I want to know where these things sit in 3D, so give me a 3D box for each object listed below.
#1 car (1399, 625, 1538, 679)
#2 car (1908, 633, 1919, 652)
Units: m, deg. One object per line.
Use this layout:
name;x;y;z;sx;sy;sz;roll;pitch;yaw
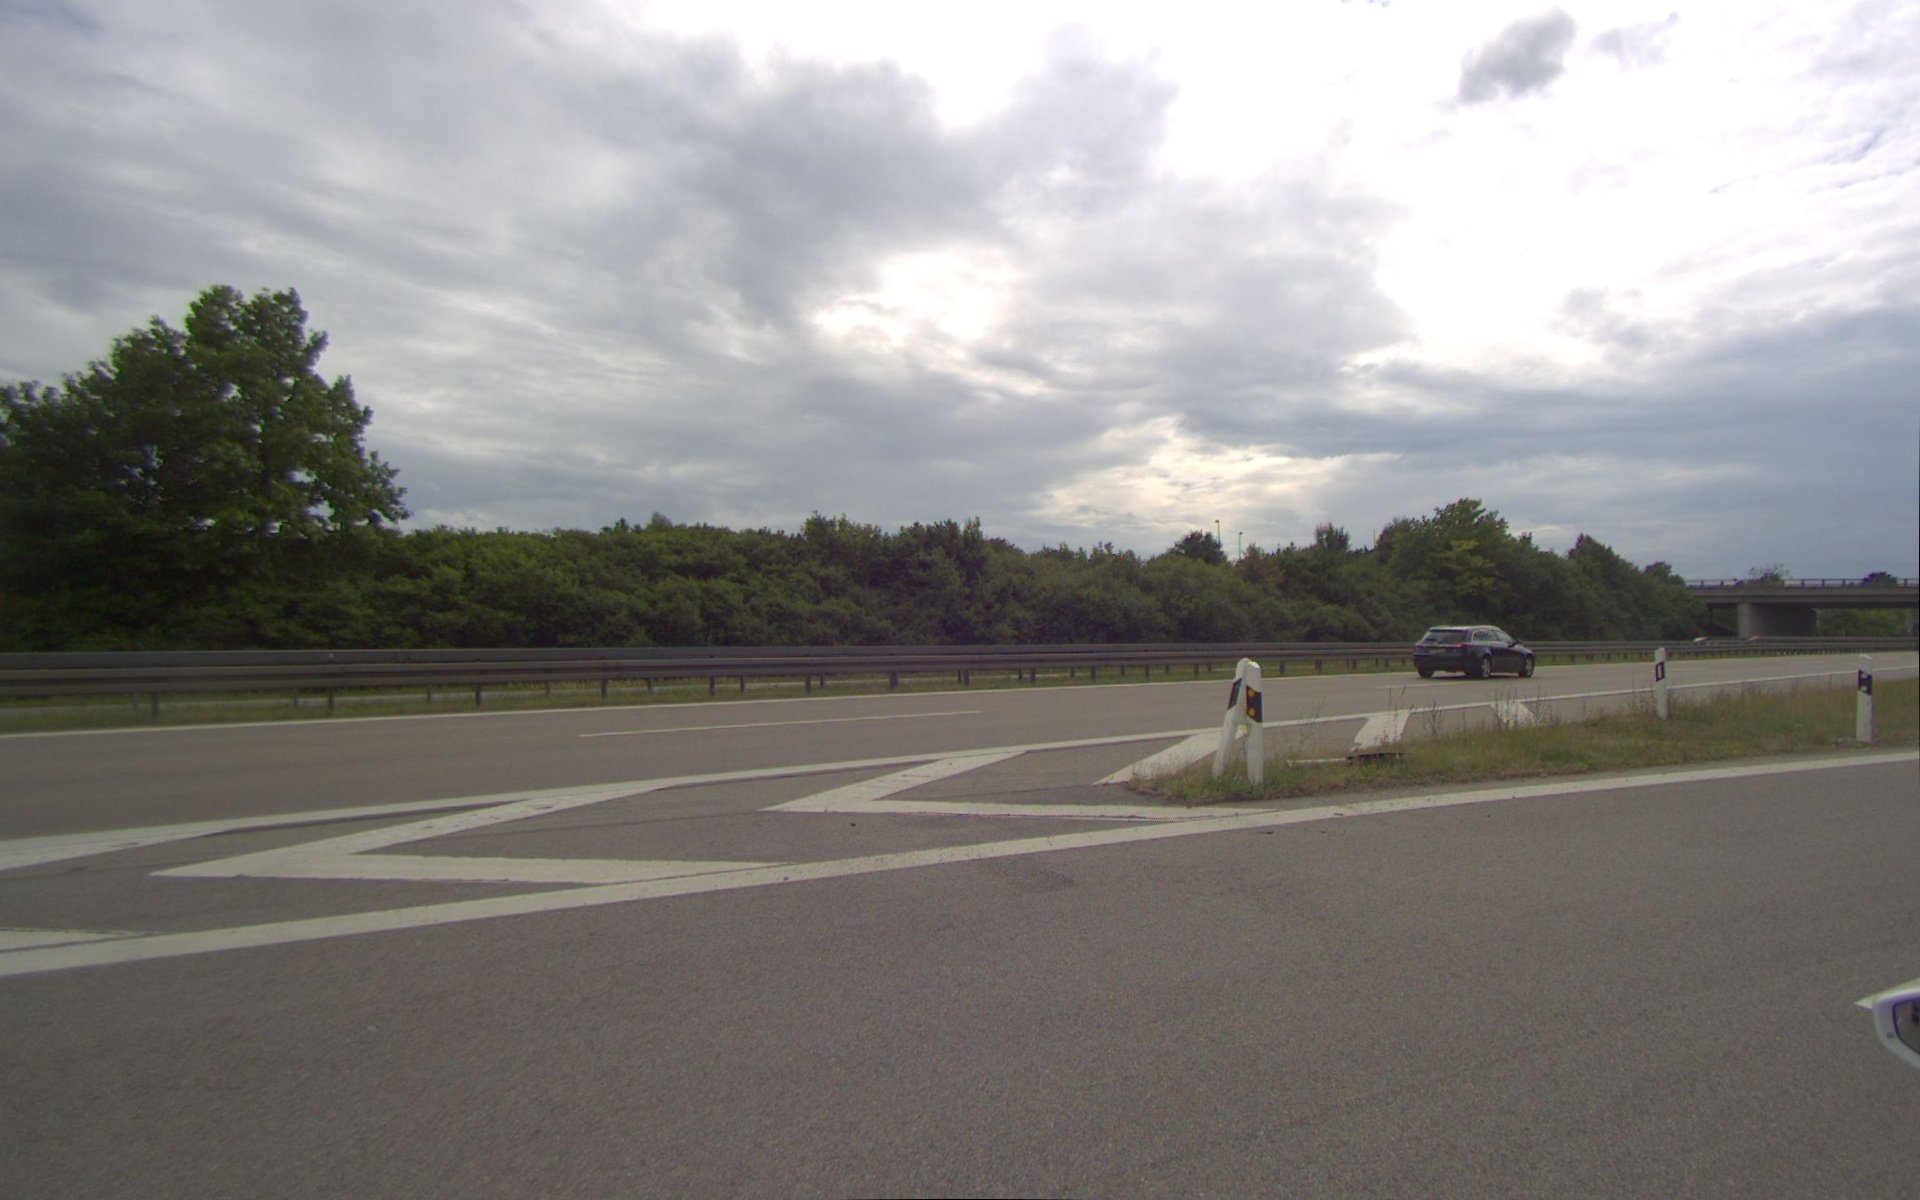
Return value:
car;14.533;1.440;28.592;4.755;1.442;1.709;2;-2;-38
car;74.369;3.233;76.999;4.266;1.417;1.767;2;-2;-37
